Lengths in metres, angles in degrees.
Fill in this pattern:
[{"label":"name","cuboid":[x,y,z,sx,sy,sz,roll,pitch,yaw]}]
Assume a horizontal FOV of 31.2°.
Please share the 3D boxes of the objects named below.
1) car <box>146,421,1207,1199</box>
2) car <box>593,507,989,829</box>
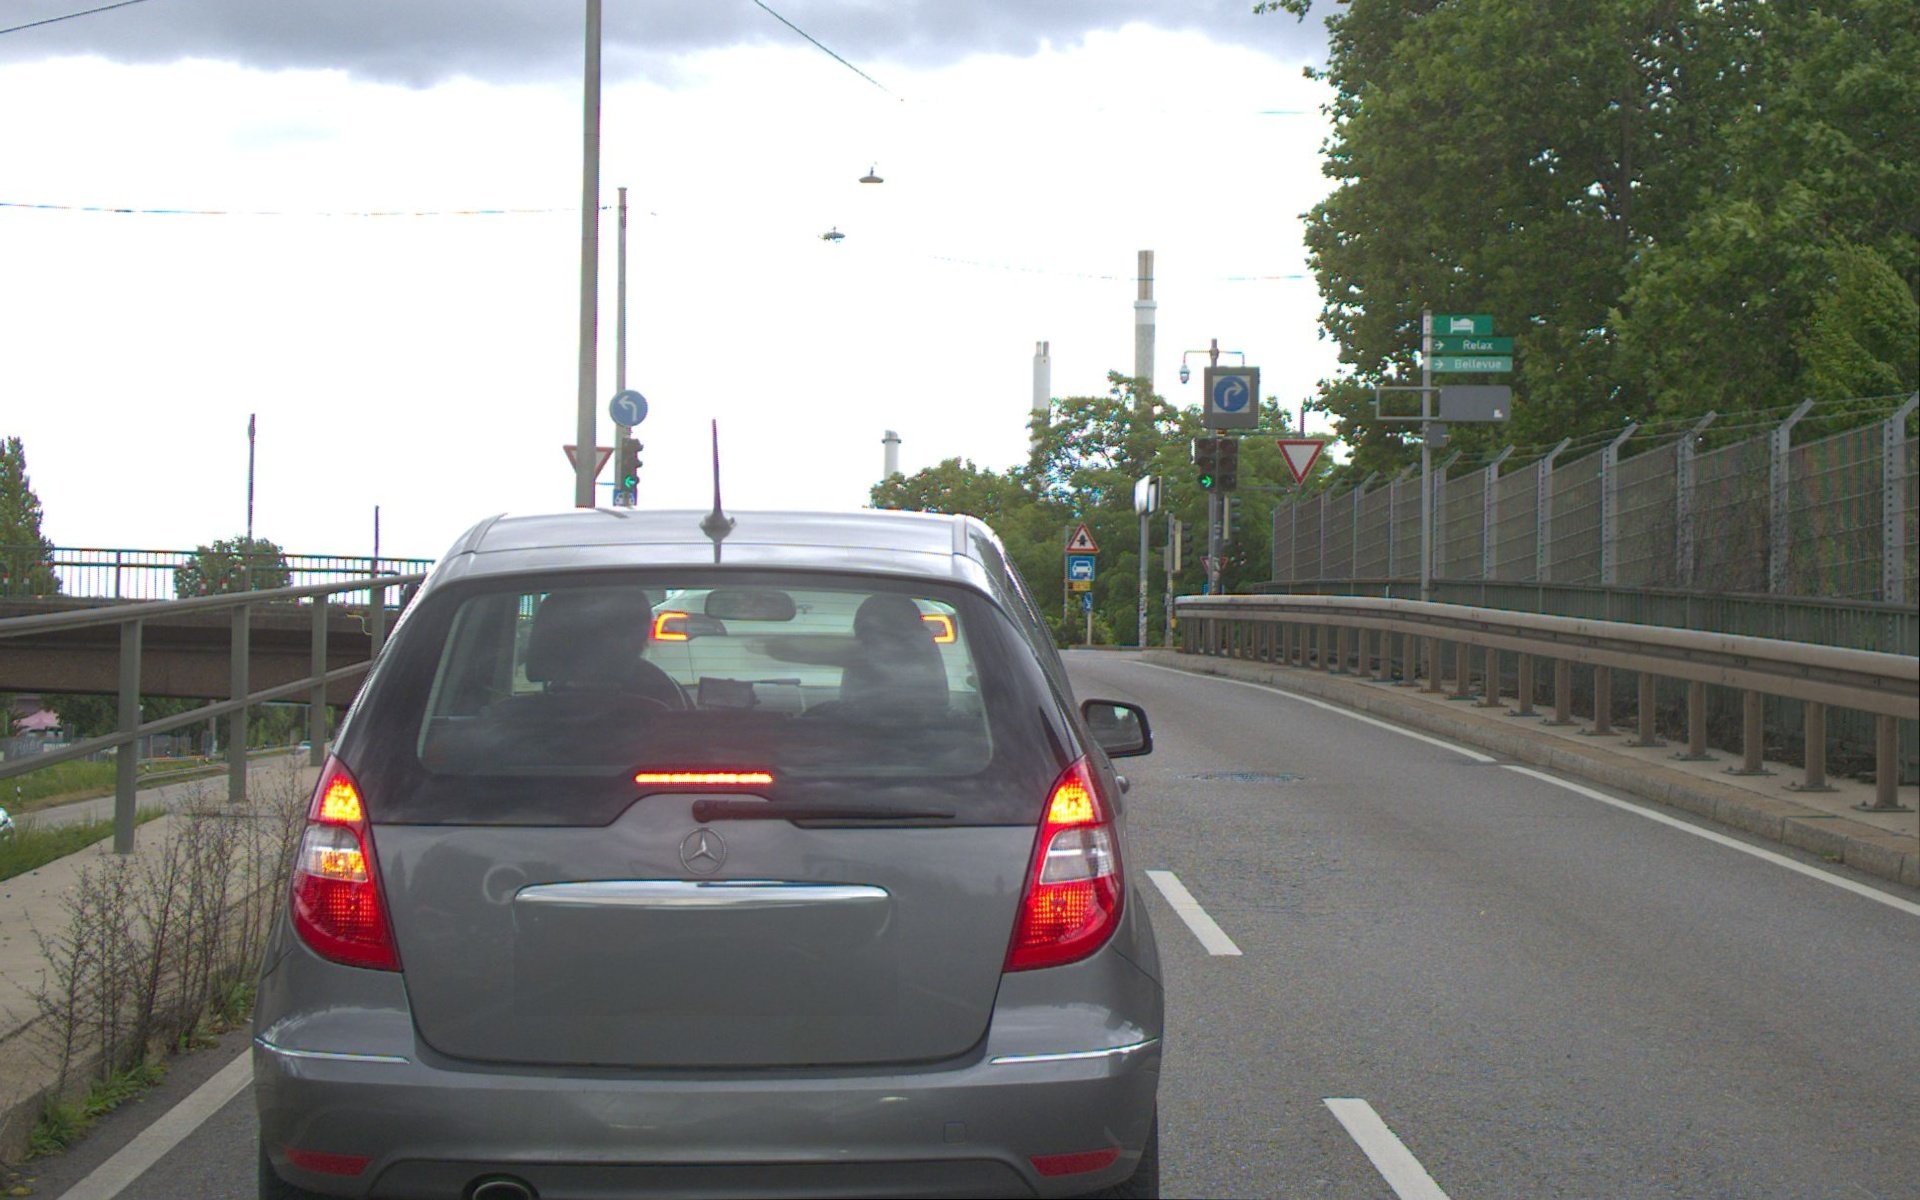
[{"label":"car","cuboid":[-0.362,0.510,8.028,1.750,1.575,4.084,0,-1,6]},{"label":"car","cuboid":[-0.883,0.288,19.348,1.993,1.597,4.001,0,2,-1]}]
